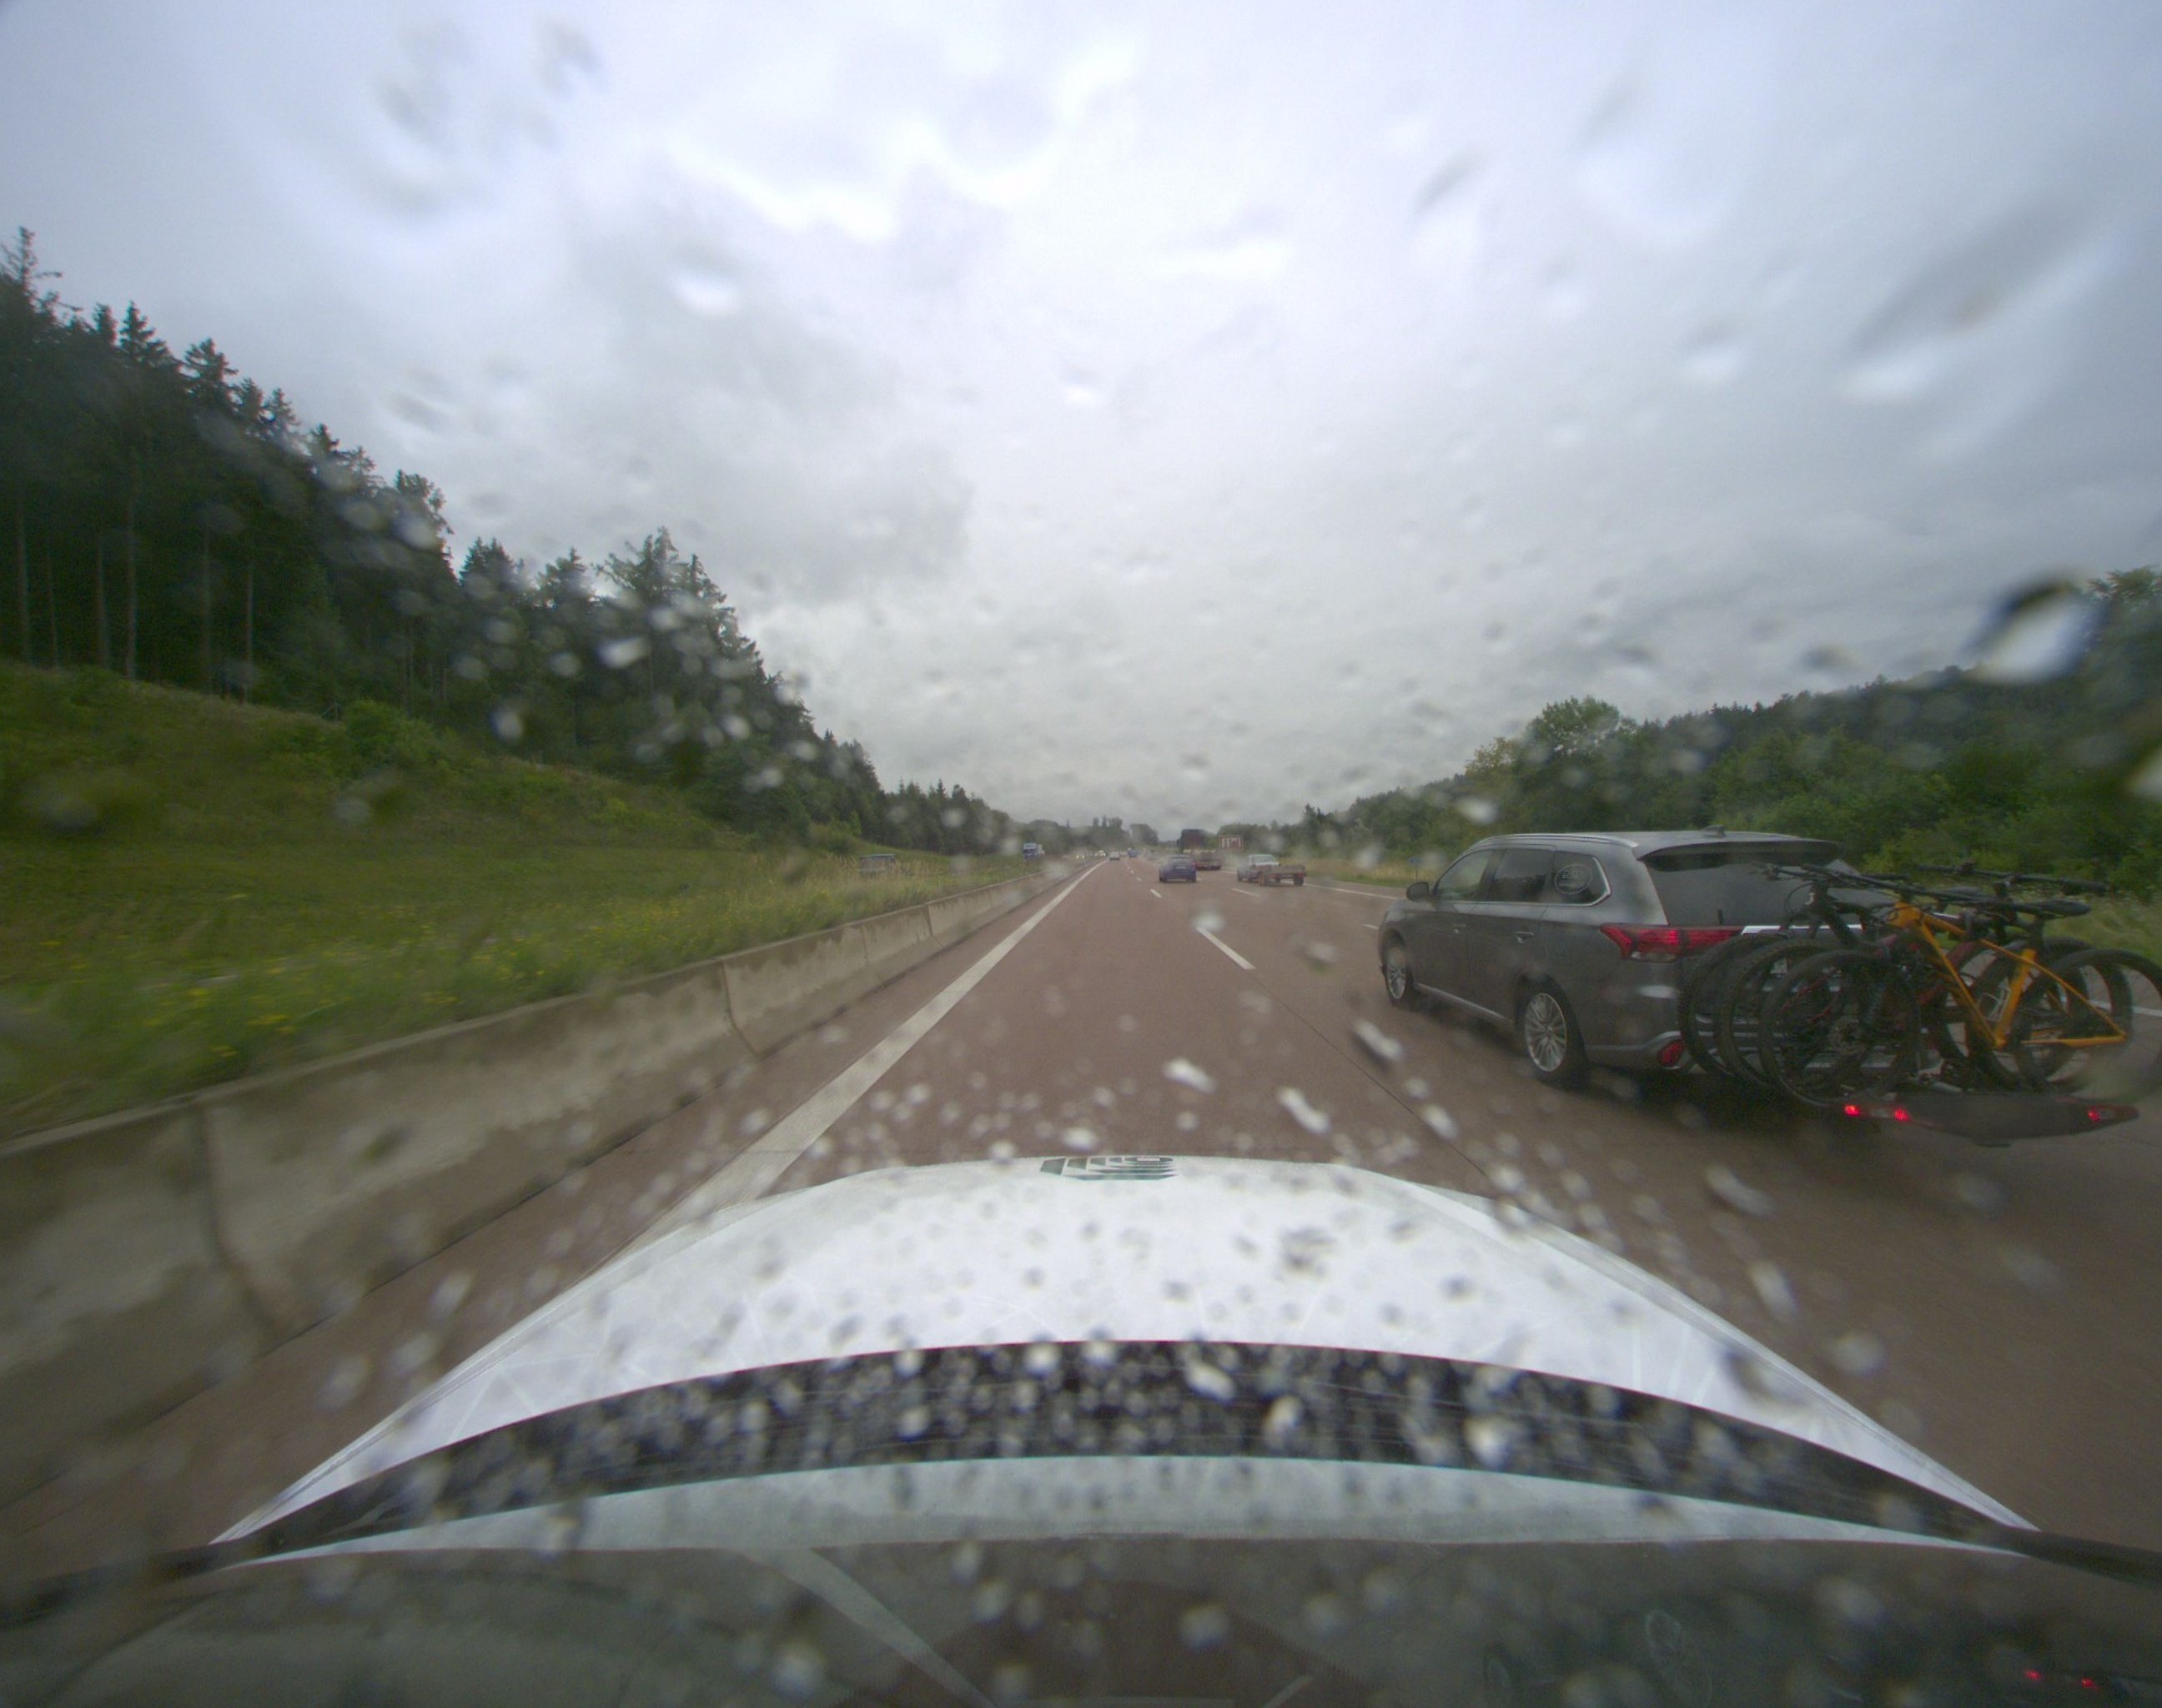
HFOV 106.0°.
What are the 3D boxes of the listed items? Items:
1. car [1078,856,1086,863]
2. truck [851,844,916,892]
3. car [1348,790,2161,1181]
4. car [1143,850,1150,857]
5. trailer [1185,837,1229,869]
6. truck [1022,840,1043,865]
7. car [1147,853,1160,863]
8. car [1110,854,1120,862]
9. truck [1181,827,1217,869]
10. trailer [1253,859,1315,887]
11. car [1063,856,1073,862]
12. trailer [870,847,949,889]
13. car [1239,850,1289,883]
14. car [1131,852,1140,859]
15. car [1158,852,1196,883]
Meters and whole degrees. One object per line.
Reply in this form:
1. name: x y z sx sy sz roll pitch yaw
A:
1. car: 0.269 1.440 205.901 1.812 1.842 6.240 0 -1 2
2. truck: -13.791 0.959 57.427 2.853 3.172 6.497 0 -1 2
3. car: 3.933 0.584 6.248 1.986 1.593 5.821 0 -1 1
4. car: 19.220 -0.106 237.996 1.985 2.014 4.003 0 -1 3
5. trailer: 11.245 -0.012 73.645 2.869 2.676 11.407 0 -1 3
6. truck: -9.178 -0.360 154.299 2.953 4.319 7.653 -5 1 2
7. car: 13.457 0.829 151.499 2.312 1.750 4.881 0 -1 3
8. car: 6.312 0.747 151.755 1.866 1.444 4.882 0 1 3
9. truck: 11.709 -0.534 81.317 2.885 3.965 6.994 0 -1 3
10. trailer: 9.371 0.844 37.991 1.963 1.166 4.643 0 0 3
11. car: -2.930 1.170 184.664 1.812 1.369 5.116 0 -1 2
12. trailer: -13.481 1.113 65.637 2.828 2.998 14.440 0 -1 2
13. car: 9.527 0.654 42.714 1.691 1.611 4.979 -1 -1 3
14. car: 14.142 0.414 210.314 2.312 1.750 4.881 0 -1 3
15. car: 5.117 0.729 43.820 1.763 1.564 4.150 0 -1 3
